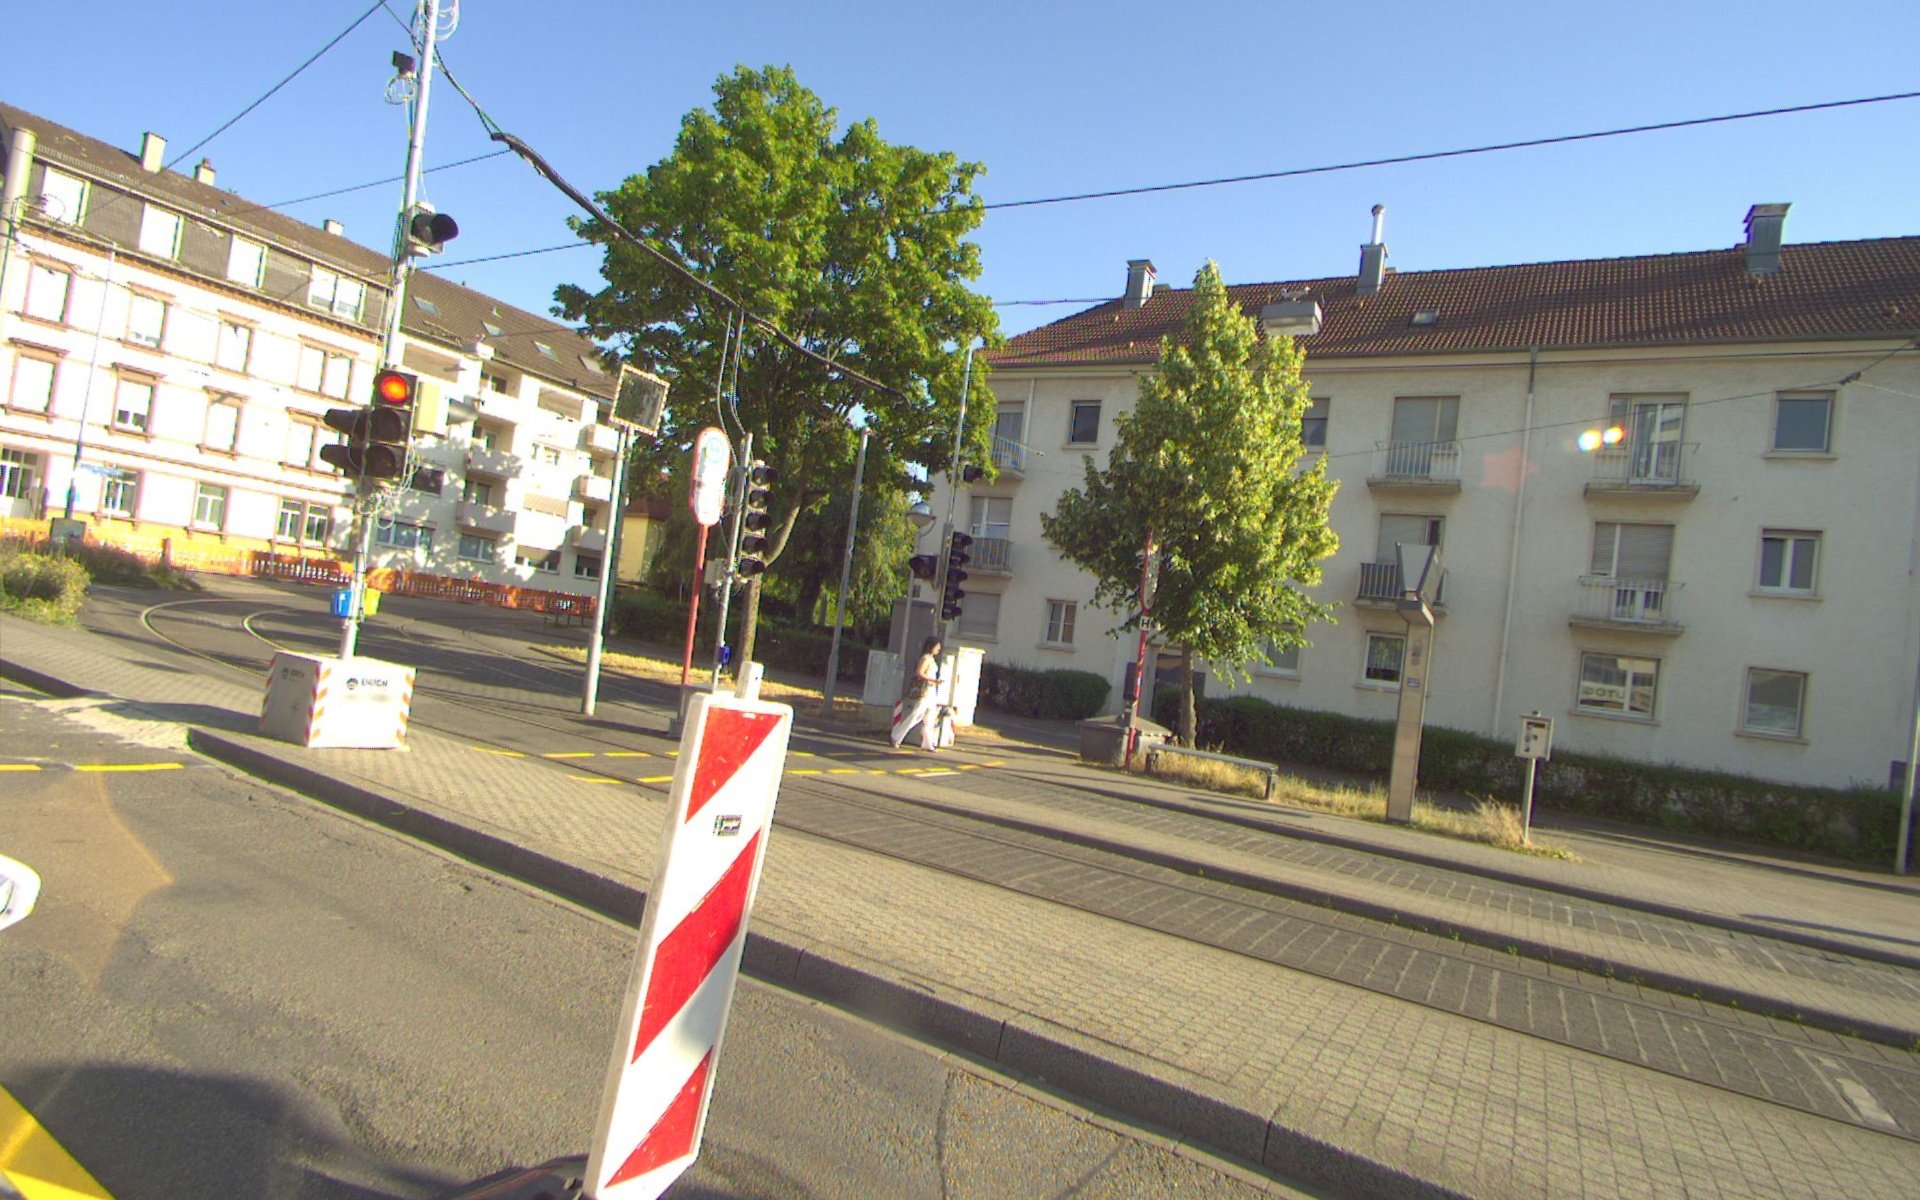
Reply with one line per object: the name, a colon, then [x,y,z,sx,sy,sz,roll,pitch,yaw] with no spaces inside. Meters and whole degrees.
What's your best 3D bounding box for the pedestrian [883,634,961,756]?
pedestrian: [-0.544,1.371,14.724,0.776,1.639,0.827,7,-1,13]
